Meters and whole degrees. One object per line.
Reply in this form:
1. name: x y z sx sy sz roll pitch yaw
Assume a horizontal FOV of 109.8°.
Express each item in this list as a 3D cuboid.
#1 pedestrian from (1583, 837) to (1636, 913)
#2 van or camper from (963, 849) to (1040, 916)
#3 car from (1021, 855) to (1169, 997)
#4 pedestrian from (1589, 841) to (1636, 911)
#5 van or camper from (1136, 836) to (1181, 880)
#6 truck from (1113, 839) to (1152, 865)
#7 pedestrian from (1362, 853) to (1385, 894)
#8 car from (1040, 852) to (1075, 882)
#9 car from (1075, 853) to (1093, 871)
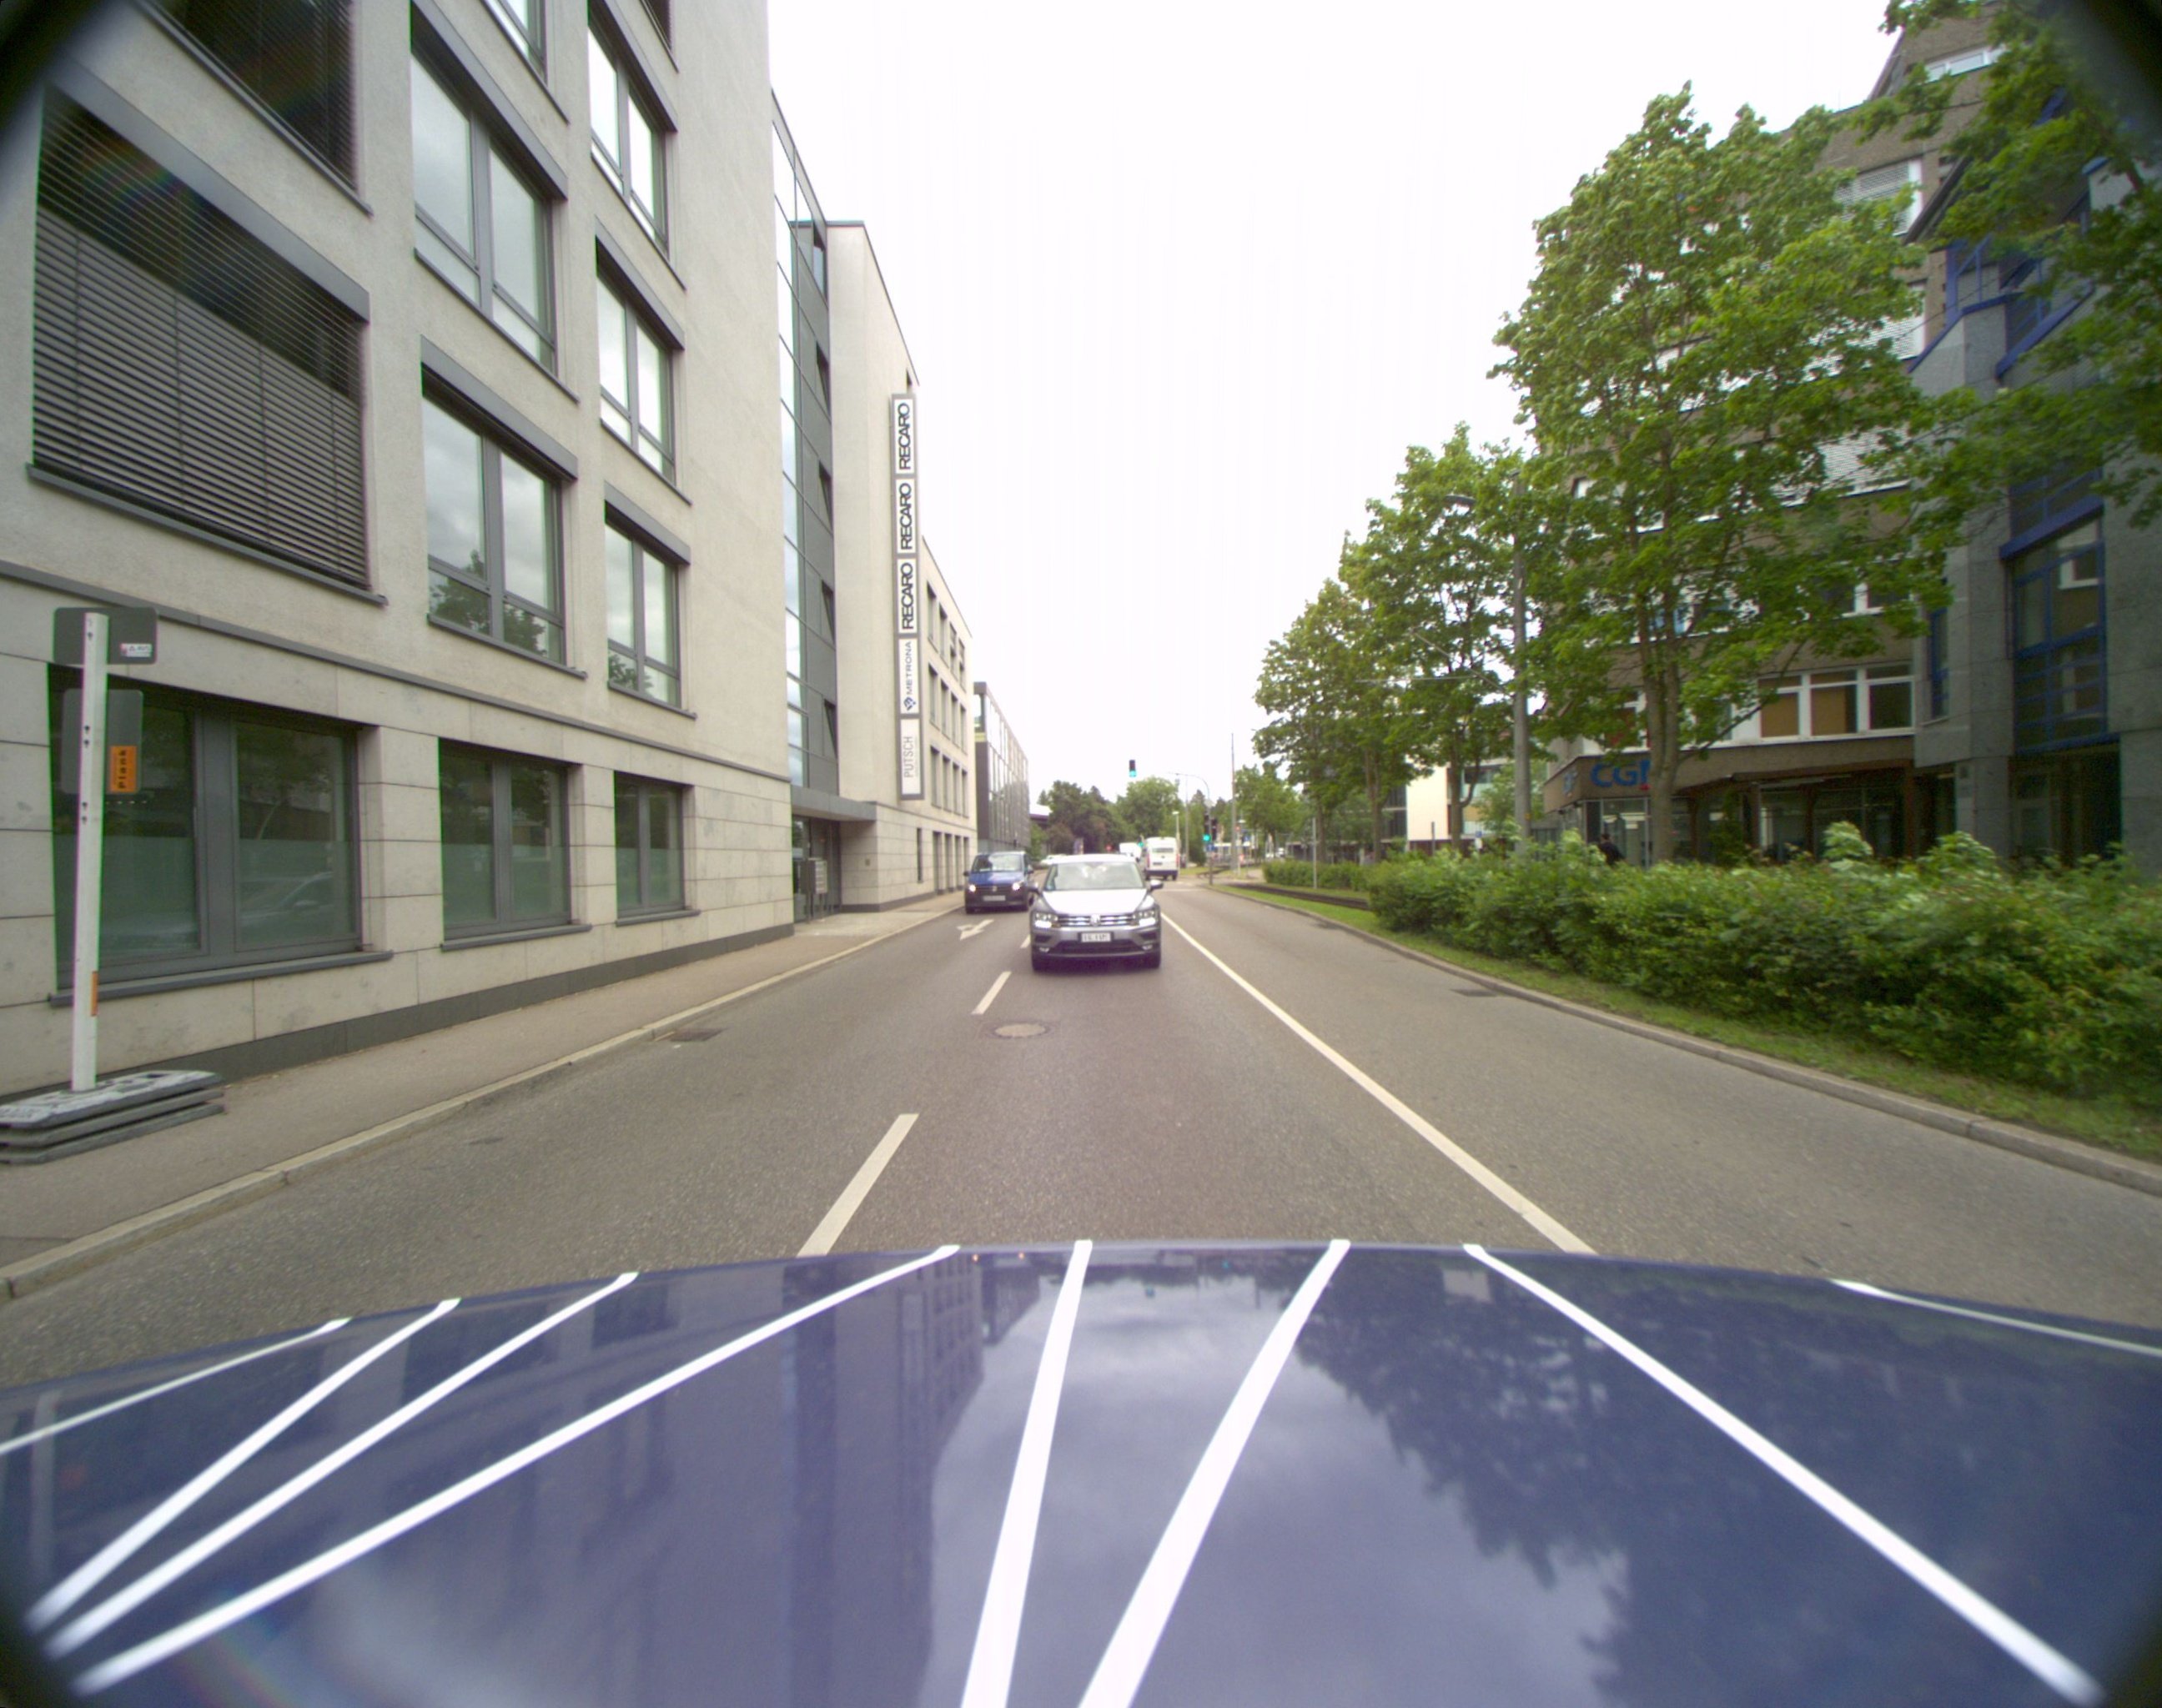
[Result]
1. pedestrian: 13.605 0.527 19.586 0.816 1.912 0.731 -2 1 0
2. van or camper: -2.456 0.831 24.747 1.864 1.900 5.032 -1 0 1
3. car: 0.201 0.895 11.620 1.798 1.716 4.458 -1 0 1
4. pedestrian: 14.799 0.596 21.166 0.776 1.883 0.731 -2 1 -1
5. van or camper: 5.151 0.218 51.142 2.113 2.718 6.150 -2 1 -2
6. truck: 7.780 -0.318 112.845 2.317 3.626 8.024 -1 1 31
7. pedestrian: 13.273 0.874 34.463 0.680 1.795 0.731 -2 1 -4
8. car: -1.512 0.833 50.295 1.998 1.805 4.000 -2 1 1
9. car: 0.414 0.946 91.659 1.998 2.002 4.000 -2 1 1
